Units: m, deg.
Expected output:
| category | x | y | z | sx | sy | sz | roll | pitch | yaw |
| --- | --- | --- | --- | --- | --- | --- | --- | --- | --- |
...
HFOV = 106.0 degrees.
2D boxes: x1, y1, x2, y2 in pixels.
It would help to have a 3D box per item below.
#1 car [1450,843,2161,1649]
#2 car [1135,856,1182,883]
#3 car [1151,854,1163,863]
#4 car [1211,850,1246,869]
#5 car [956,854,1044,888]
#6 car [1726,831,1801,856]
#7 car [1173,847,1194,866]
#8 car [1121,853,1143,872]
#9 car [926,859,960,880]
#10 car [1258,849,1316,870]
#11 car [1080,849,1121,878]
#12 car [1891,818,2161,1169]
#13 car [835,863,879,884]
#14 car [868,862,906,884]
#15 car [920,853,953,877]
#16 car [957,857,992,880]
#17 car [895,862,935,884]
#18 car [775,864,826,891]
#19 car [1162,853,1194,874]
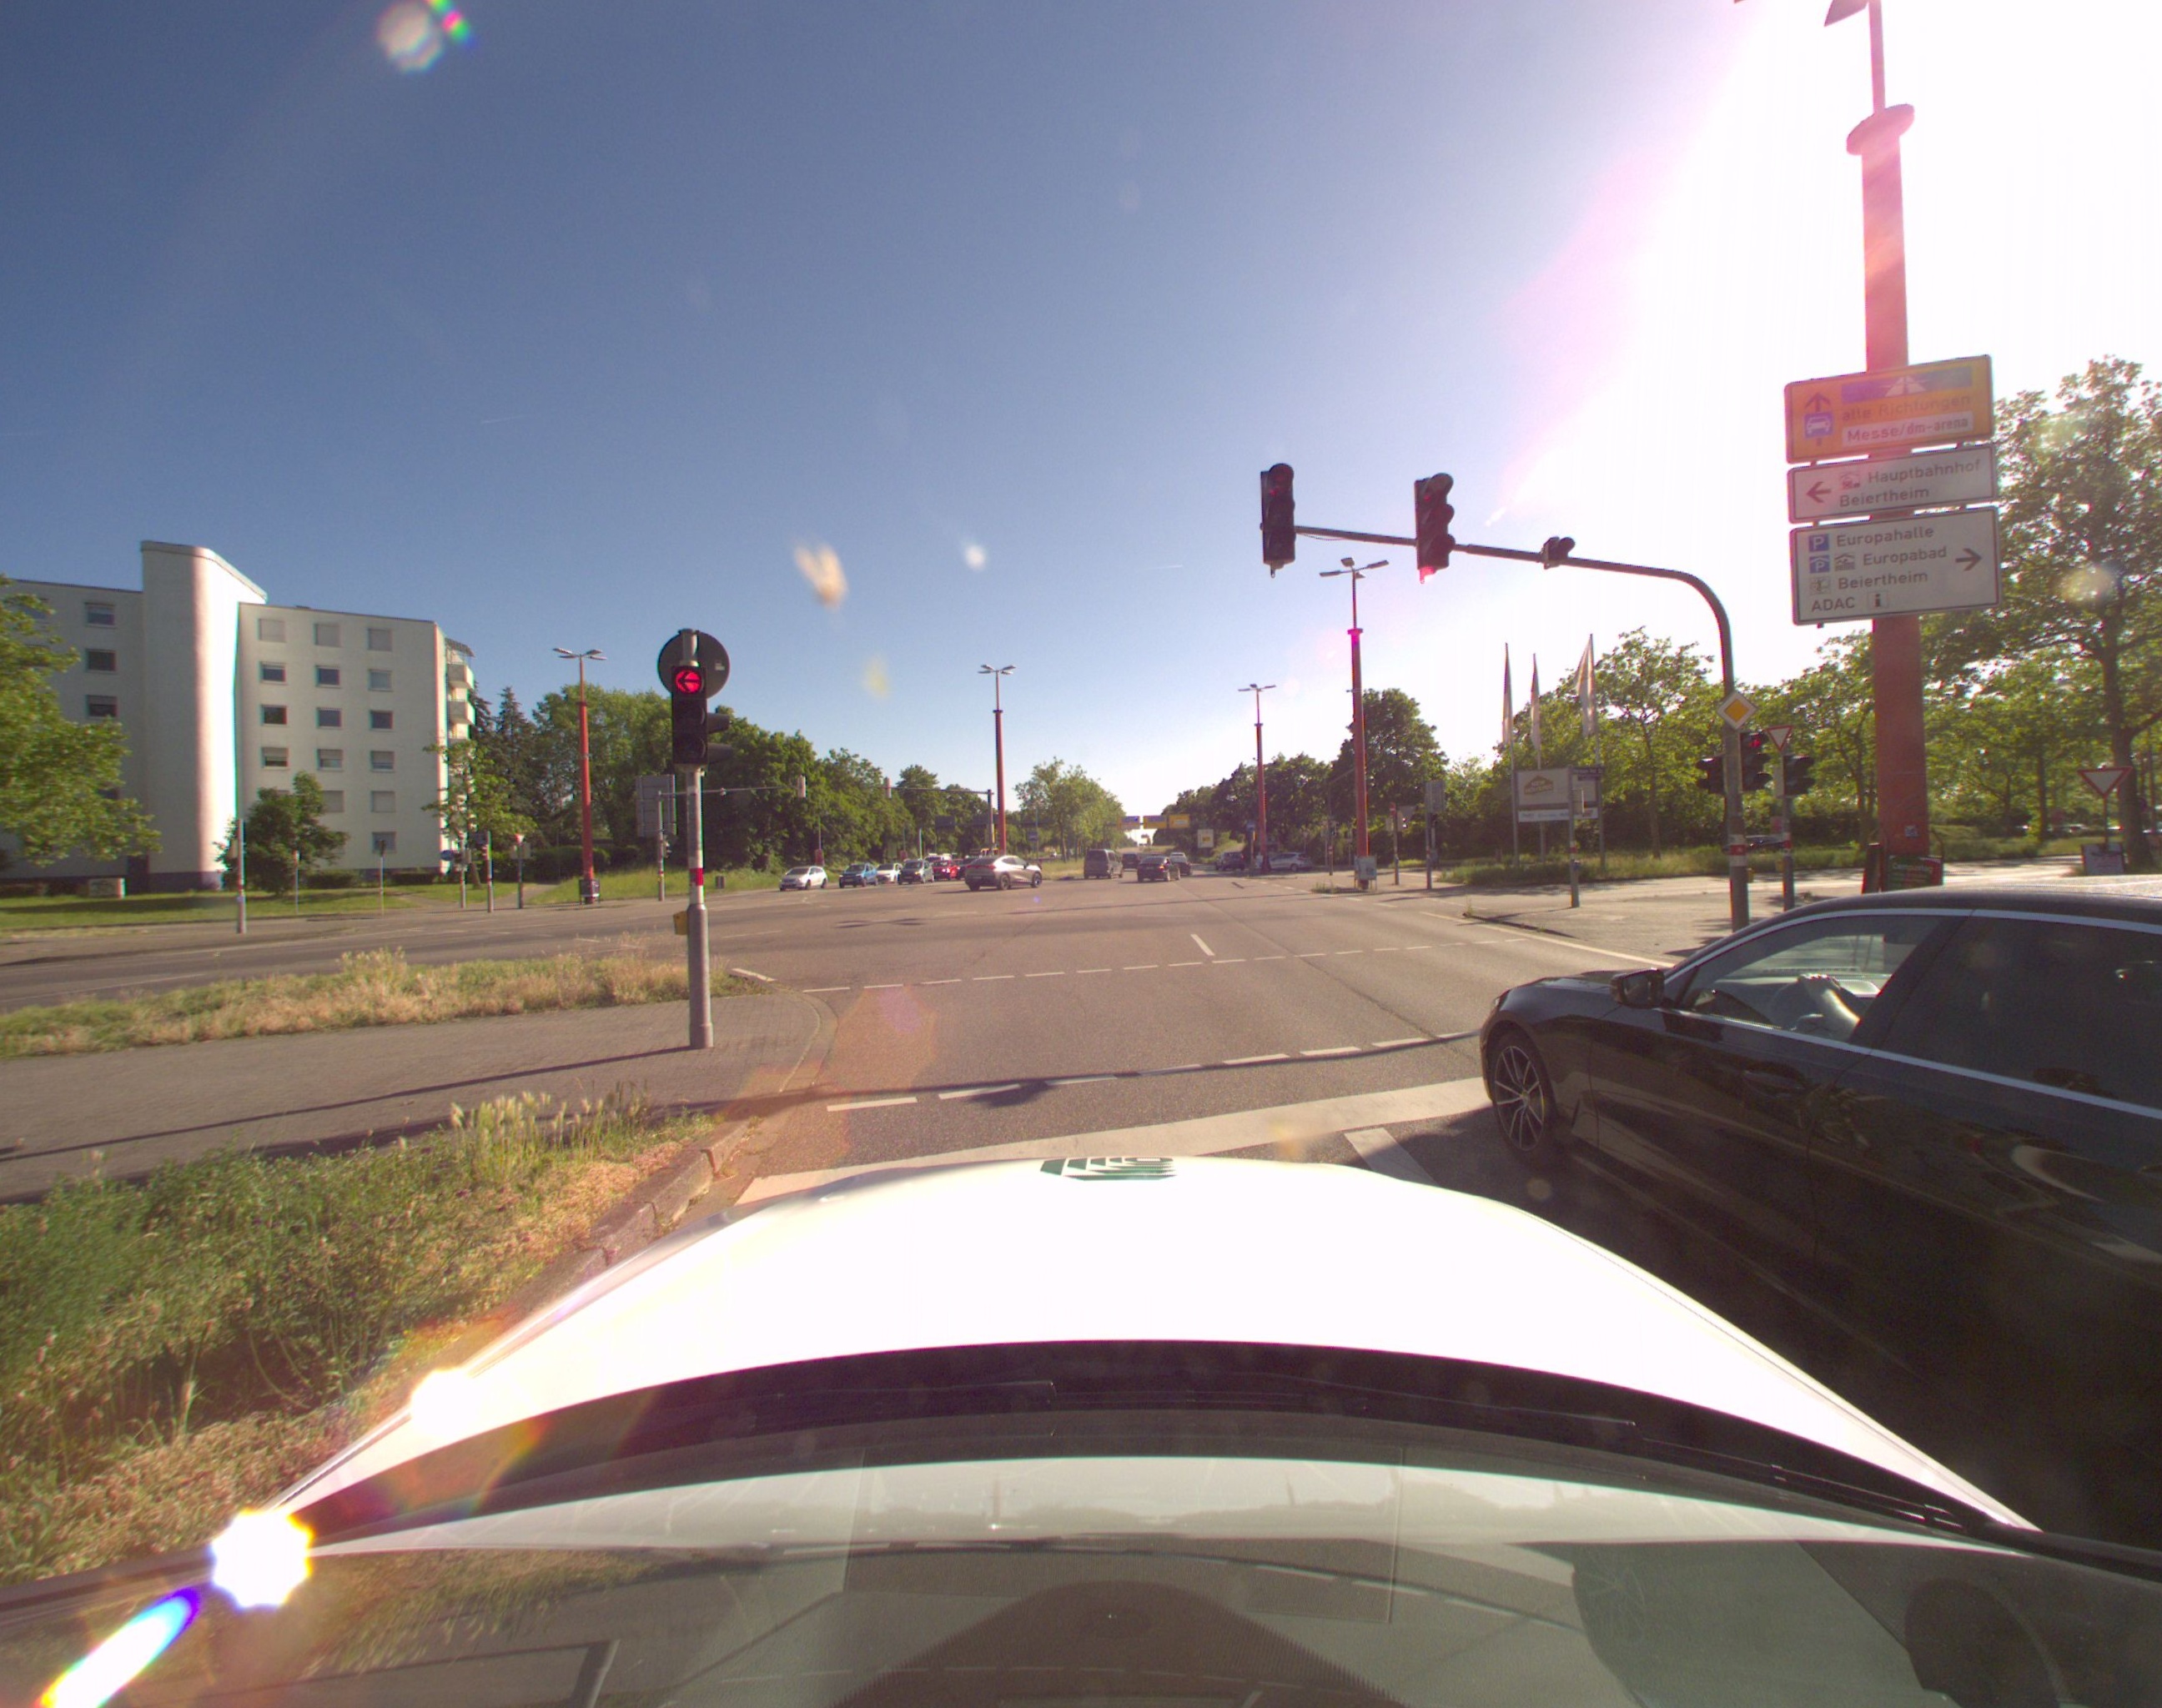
| category | x | y | z | sx | sy | sz | roll | pitch | yaw |
| --- | --- | --- | --- | --- | --- | --- | --- | --- | --- |
| car | 2.902 | 0.688 | 2.376 | 1.861 | 1.398 | 4.448 | -2 | 0 | 4 |
| car | 4.367 | 0.810 | 45.452 | 1.746 | 1.350 | 4.382 | -2 | 0 | 16 |
| car | 12.325 | 0.690 | 132.095 | 1.674 | 1.435 | 4.066 | -2 | 0 | 2 |
| car | 12.787 | 0.480 | 70.799 | 1.777 | 1.485 | 4.320 | -2 | 0 | -6 |
| car | -3.703 | 0.775 | 38.036 | 1.813 | 1.422 | 4.465 | -2 | 0 | 30 |
| car | 46.651 | -0.722 | 55.685 | 3.991 | 1.578 | 1.861 | -2 | 0 | -13 |
| car | 9.080 | 0.214 | 72.234 | 1.813 | 1.636 | 4.261 | -2 | 0 | 7 |
| car | 4.582 | 0.739 | 72.644 | 1.843 | 1.545 | 4.268 | -2 | 0 | 5 |
| car | -9.906 | 1.087 | 58.666 | 1.733 | 1.362 | 3.613 | -2 | 0 | 1 |
| car | 15.477 | 0.420 | 61.347 | 1.693 | 1.467 | 3.947 | -2 | 0 | -42 |
| car | 1.255 | 0.543 | 51.476 | 1.834 | 1.708 | 4.320 | -2 | 0 | 11 |
| car | 5.674 | 0.601 | 2.863 | 1.732 | 1.578 | 4.032 | -2 | 0 | 3 |
| car | -14.088 | 1.211 | 51.418 | 1.733 | 1.243 | 3.613 | -2 | 0 | 1 |
| car | -13.671 | 1.318 | 57.528 | 1.733 | 1.411 | 3.613 | -2 | 0 | 1 |
| car | -12.664 | 0.975 | 71.592 | 1.886 | 2.026 | 5.223 | 0 | -1 | 1 |
| car | -7.373 | 0.989 | 56.713 | 1.812 | 1.508 | 4.002 | -2 | 0 | 2 |
| car | -10.604 | 1.188 | 52.306 | 1.733 | 1.243 | 3.613 | -2 | 0 | 1 |
| car | -17.578 | 1.456 | 51.191 | 1.754 | 1.532 | 3.936 | -2 | 0 | 1 |
| car | 6.861 | 0.628 | 57.383 | 1.747 | 1.350 | 4.378 | -2 | 0 | 13 |
